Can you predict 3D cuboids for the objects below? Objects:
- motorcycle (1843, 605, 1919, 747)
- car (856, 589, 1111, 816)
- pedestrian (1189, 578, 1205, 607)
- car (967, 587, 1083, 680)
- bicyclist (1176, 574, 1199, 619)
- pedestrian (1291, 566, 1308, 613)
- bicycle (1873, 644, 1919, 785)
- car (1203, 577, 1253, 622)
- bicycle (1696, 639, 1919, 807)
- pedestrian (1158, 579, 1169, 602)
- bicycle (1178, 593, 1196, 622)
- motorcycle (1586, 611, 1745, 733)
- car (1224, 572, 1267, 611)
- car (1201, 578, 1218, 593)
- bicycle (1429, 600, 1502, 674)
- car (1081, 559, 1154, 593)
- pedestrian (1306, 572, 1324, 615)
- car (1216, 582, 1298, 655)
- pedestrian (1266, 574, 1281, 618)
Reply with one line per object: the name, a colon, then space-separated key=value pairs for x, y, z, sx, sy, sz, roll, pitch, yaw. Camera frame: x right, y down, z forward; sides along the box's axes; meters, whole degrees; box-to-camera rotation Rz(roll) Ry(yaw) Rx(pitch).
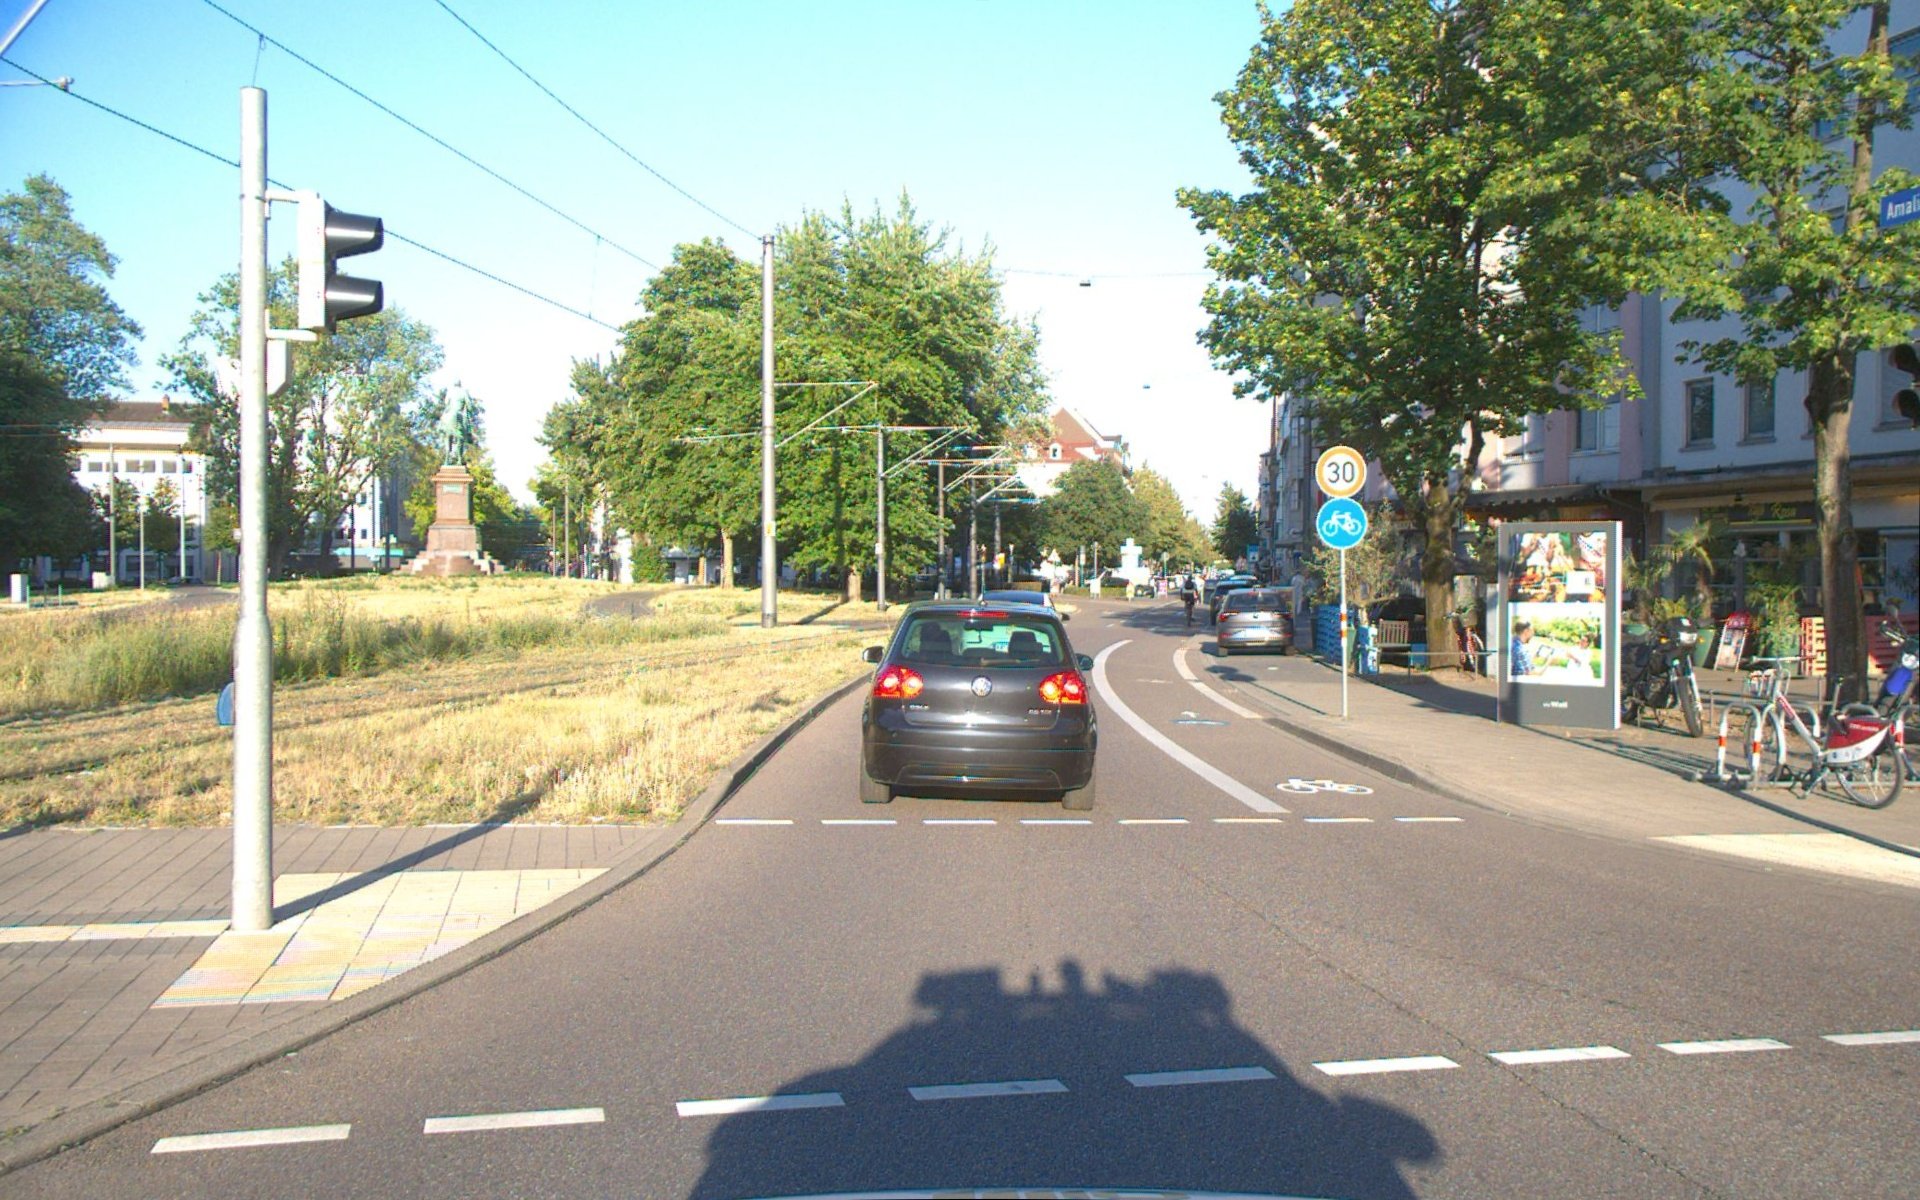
motorcycle: x=10.402 y=0.778 z=17.278 sx=2.004 sy=1.431 sz=0.759 roll=0 pitch=1 yaw=-6
car: x=0.156 y=0.682 z=13.220 sx=1.712 sy=1.486 sz=4.103 roll=1 pitch=1 yaw=0
pedestrian: x=14.520 y=-0.457 z=101.361 sx=0.841 sy=1.736 sz=0.942 roll=1 pitch=0 yaw=3
car: x=1.069 y=0.531 z=28.987 sx=1.827 sy=1.466 sz=4.197 roll=0 pitch=1 yaw=-1
bicyclist: x=8.349 y=-0.134 z=60.632 sx=0.760 sy=1.646 sz=1.026 roll=1 pitch=0 yaw=9
pedestrian: x=14.009 y=-0.446 z=68.181 sx=0.609 sy=1.890 sz=0.662 roll=-2 pitch=0 yaw=11
bicycle: x=8.435 y=0.991 z=13.506 sx=0.633 sy=1.146 sz=1.869 roll=0 pitch=2 yaw=-12
car: x=10.178 y=-0.059 z=62.725 sx=1.744 sy=1.583 sz=4.238 roll=-2 pitch=0 yaw=10
bicycle: x=6.797 y=0.938 z=13.280 sx=0.633 sy=1.146 sz=1.869 roll=0 pitch=2 yaw=-12
pedestrian: x=14.069 y=-0.649 z=114.214 sx=0.720 sy=1.582 sz=0.632 roll=1 pitch=0 yaw=6
bicycle: x=8.331 y=0.271 z=60.654 sx=0.566 sy=1.004 sz=1.937 roll=1 pitch=1 yaw=9
motorcycle: x=8.064 y=0.785 z=19.012 sx=0.653 sy=1.264 sz=2.197 roll=0 pitch=1 yaw=-7
car: x=13.616 y=-0.412 z=79.007 sx=1.827 sy=1.743 sz=4.509 roll=-2 pitch=0 yaw=8
car: x=27.431 y=-1.625 z=181.859 sx=1.866 sy=1.579 sz=4.004 roll=0 pitch=1 yaw=9
bicycle: x=8.795 y=0.624 z=28.816 sx=0.413 sy=1.178 sz=1.750 roll=0 pitch=2 yaw=-12
car: x=12.713 y=-1.948 z=133.639 sx=5.423 sy=2.640 sz=2.145 roll=0 pitch=0 yaw=-17
pedestrian: x=14.596 y=-0.267 z=68.005 sx=0.609 sy=1.770 sz=0.662 roll=-2 pitch=0 yaw=11
car: x=6.673 y=0.381 z=37.470 sx=1.691 sy=1.498 sz=3.902 roll=-2 pitch=0 yaw=9
pedestrian: x=13.002 y=-0.175 z=68.578 sx=0.566 sy=1.790 sz=0.662 roll=-2 pitch=0 yaw=11
